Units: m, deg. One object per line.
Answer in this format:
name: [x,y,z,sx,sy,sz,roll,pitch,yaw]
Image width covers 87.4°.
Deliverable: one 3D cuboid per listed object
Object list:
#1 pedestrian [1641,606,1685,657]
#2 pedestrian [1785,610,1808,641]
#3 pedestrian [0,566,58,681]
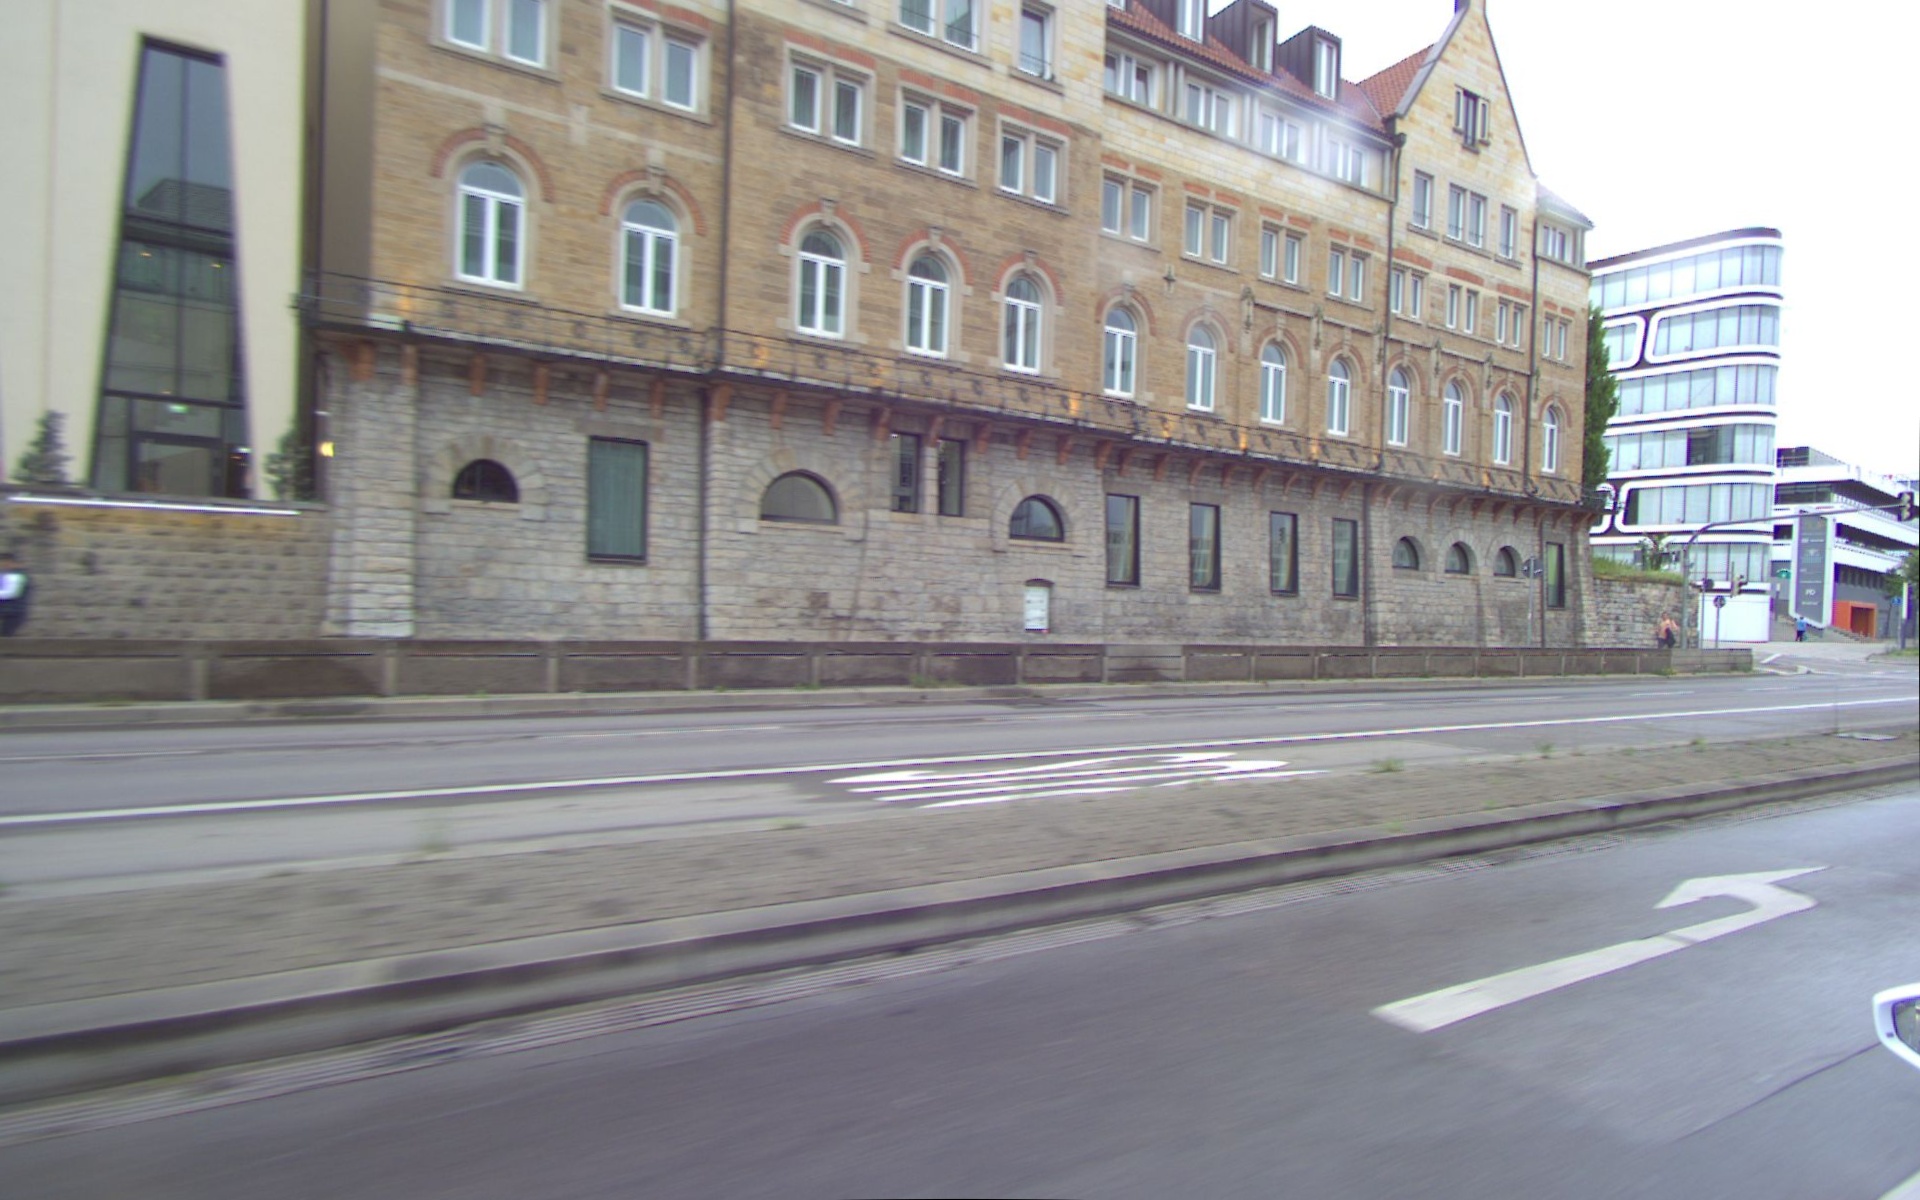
pedestrian: [26.283,1.159,37.583,1.040,1.892,0.883,-1,0,4]
pedestrian: [55.181,1.695,66.267,0.707,2.040,1.024,0,0,-31]
pedestrian: [-12.672,0.313,13.441,0.702,1.497,0.754,-1,0,35]
